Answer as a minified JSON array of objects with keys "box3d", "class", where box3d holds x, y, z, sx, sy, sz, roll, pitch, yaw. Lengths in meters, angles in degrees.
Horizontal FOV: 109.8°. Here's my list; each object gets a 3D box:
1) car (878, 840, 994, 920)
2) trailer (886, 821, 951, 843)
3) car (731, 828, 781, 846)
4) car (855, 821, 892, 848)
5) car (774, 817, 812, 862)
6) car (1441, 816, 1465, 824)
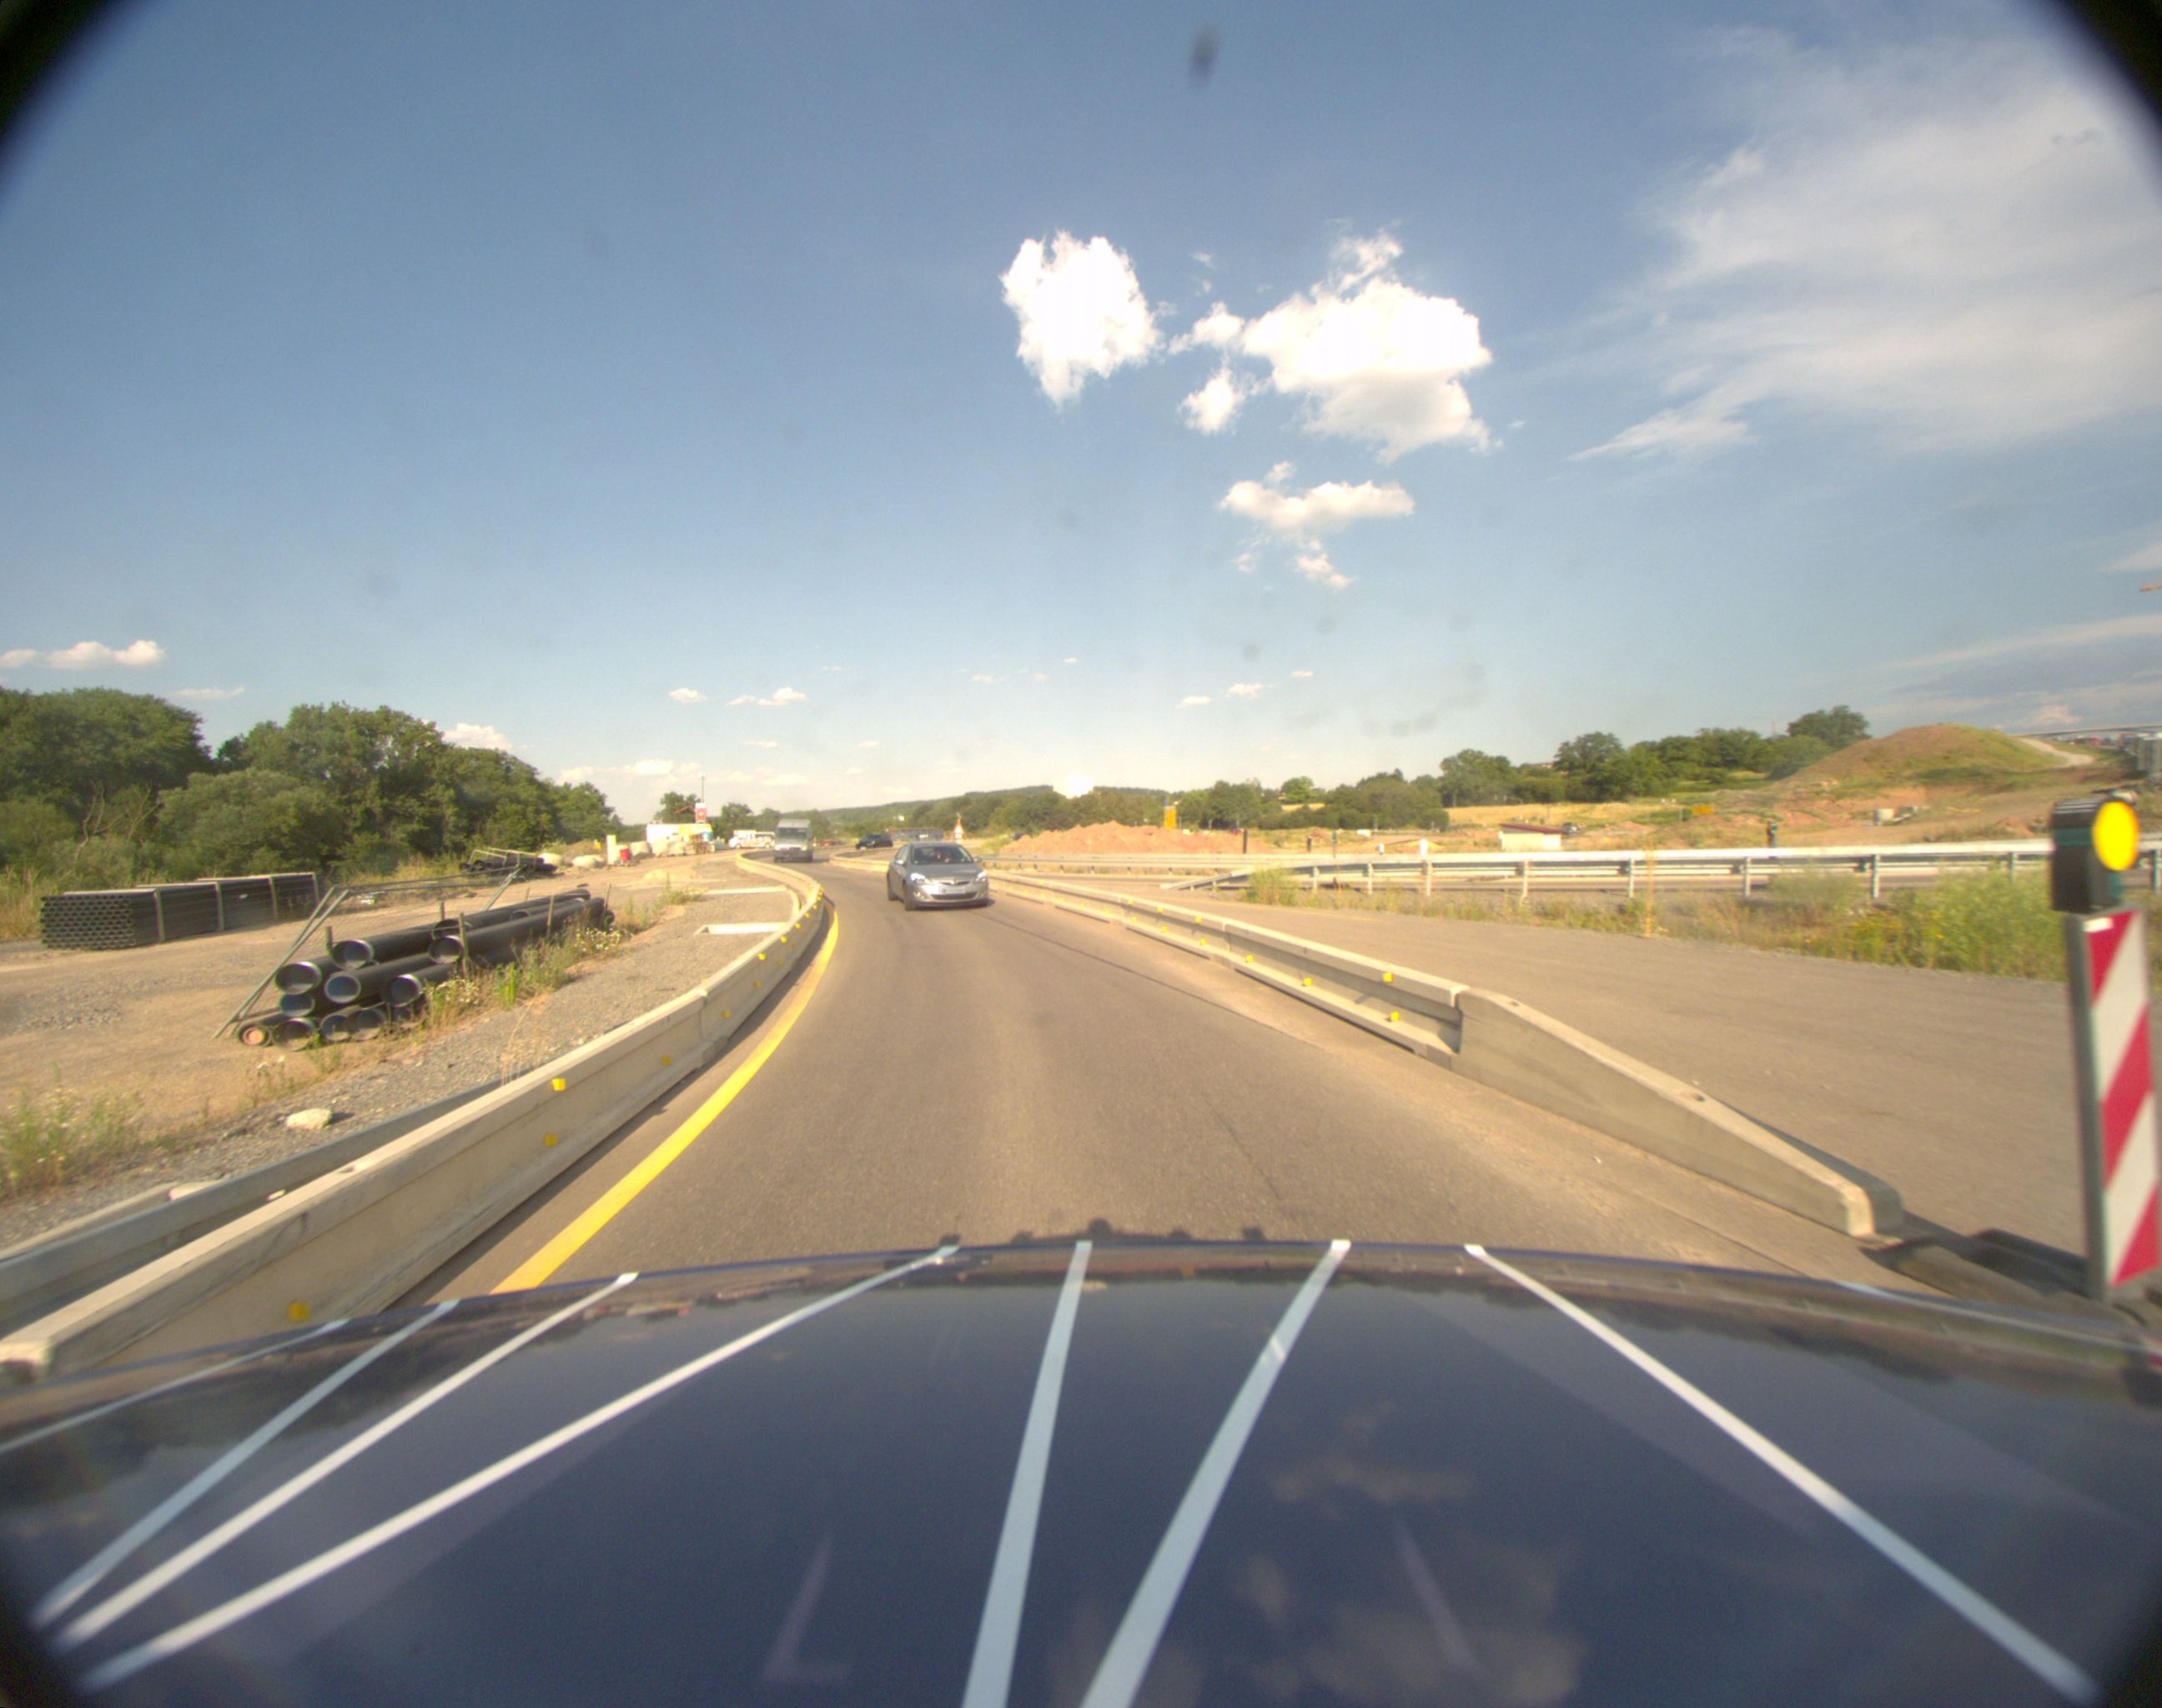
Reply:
[{"box3d":[-3.453,0.476,17.478,1.750,1.476,4.242,-3,3,-22],"class":"car"},{"box3d":[-19.503,-2.721,91.666,3.004,2.401,7.241,1,3,41],"class":"trailer"},{"box3d":[-39.548,-2.122,92.357,5.327,2.068,2.481,-2,3,-28],"class":"car"},{"box3d":[-18.961,-1.807,69.530,1.874,2.390,3.999,-1,3,5],"class":"car"},{"box3d":[-17.354,-0.941,45.987,1.919,2.487,5.785,-2,3,-20],"class":"car"},{"box3d":[67.184,-6.142,137.124,4.522,1.511,1.710,-2,5,-33],"class":"car"}]
